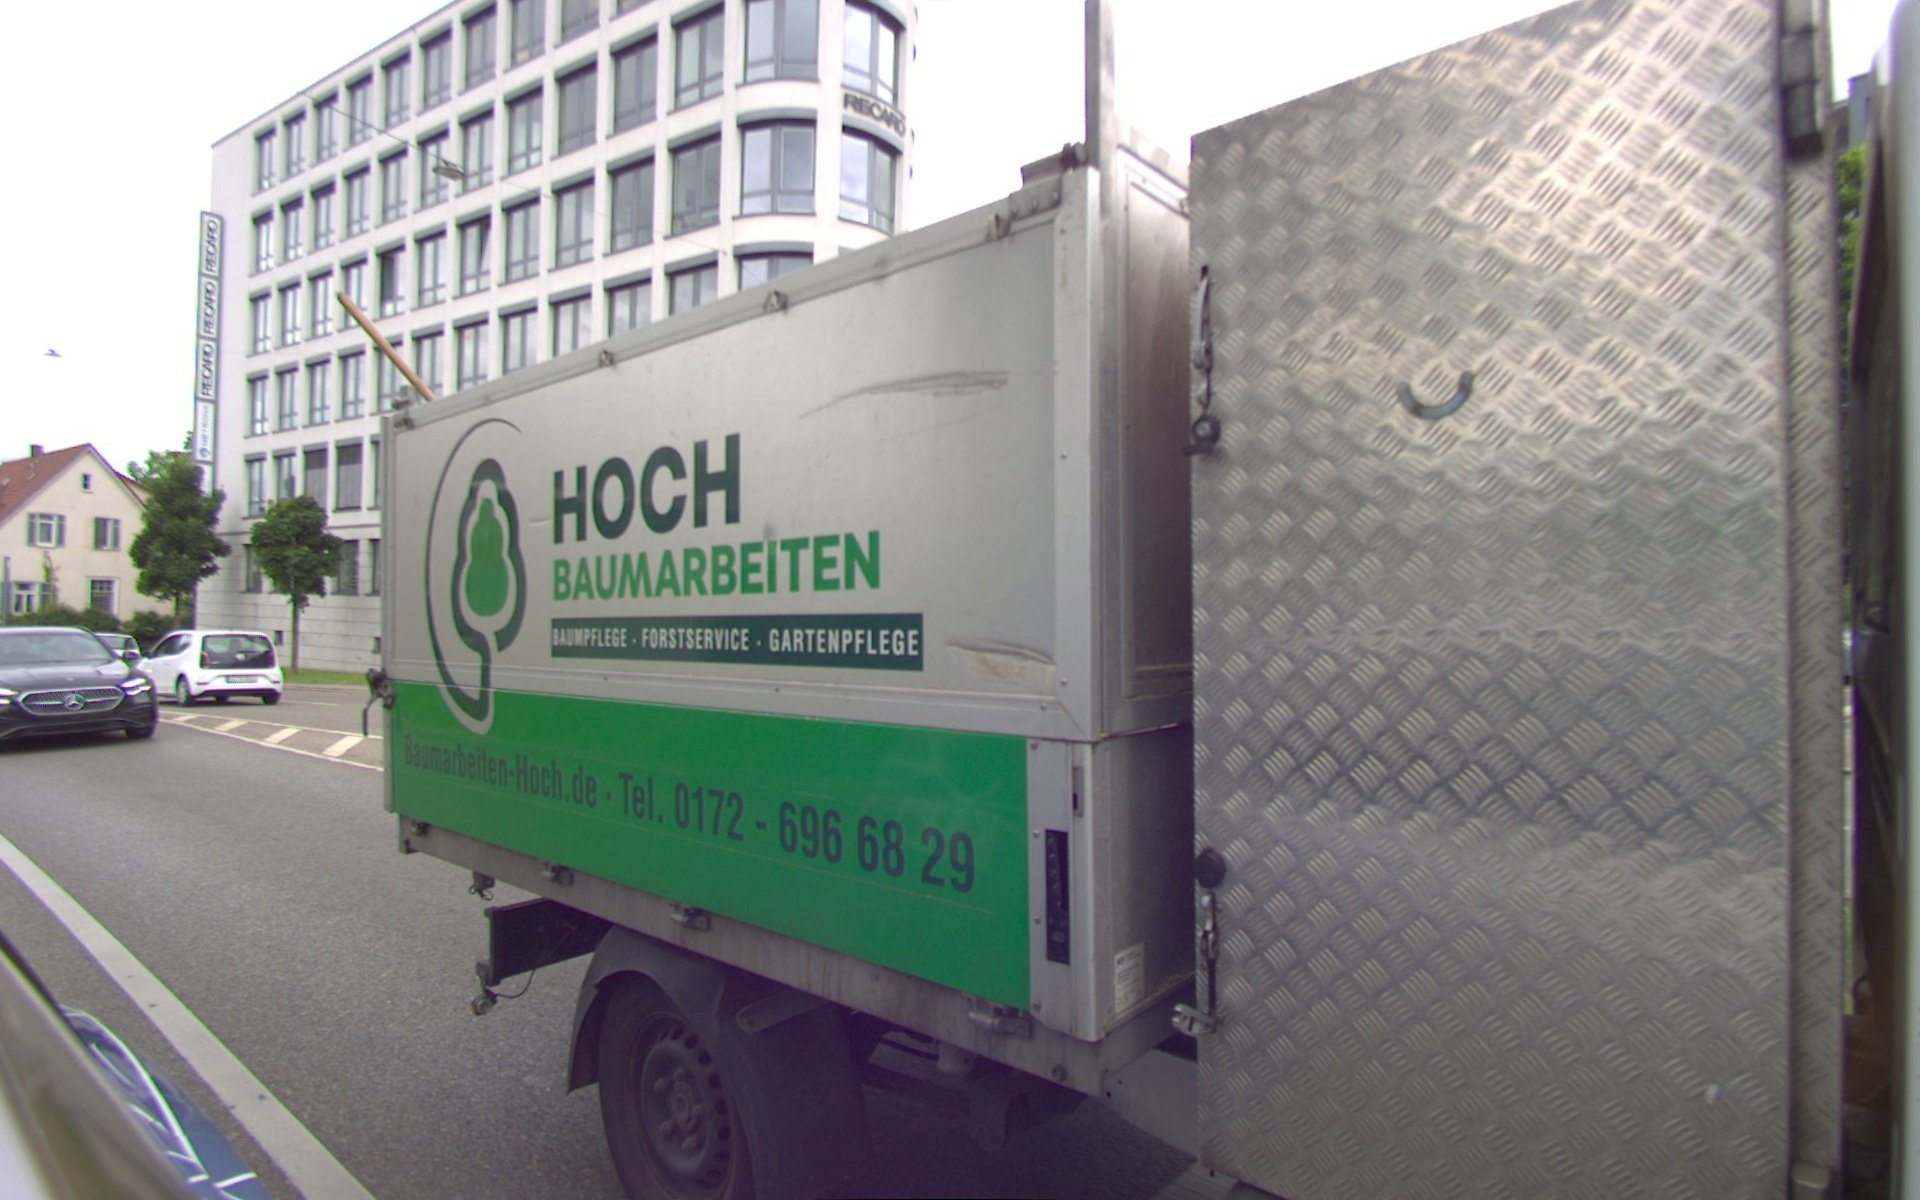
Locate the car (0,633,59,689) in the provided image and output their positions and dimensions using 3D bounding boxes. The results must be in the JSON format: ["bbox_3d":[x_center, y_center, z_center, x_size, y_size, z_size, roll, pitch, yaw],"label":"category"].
[{"bbox_3d":[-27.125,1.715,28.583,3.974,1.492,1.761,-2,-3,37],"label":"car"}]

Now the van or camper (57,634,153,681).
[{"bbox_3d":[-37.948,2.569,44.879,4.860,1.983,2.043,-3,-3,35],"label":"van or camper"}]

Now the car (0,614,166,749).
[{"bbox_3d":[-12.266,1.036,13.411,4.330,1.542,1.855,-3,-3,39],"label":"car"}]

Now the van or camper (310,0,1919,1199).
[{"bbox_3d":[1.153,0.115,1.980,5.958,2.682,2.320,-1,0,39],"label":"van or camper"}]

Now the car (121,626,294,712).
[{"bbox_3d":[-15.298,1.348,20.521,3.993,1.577,1.761,-2,-3,37],"label":"car"}]
